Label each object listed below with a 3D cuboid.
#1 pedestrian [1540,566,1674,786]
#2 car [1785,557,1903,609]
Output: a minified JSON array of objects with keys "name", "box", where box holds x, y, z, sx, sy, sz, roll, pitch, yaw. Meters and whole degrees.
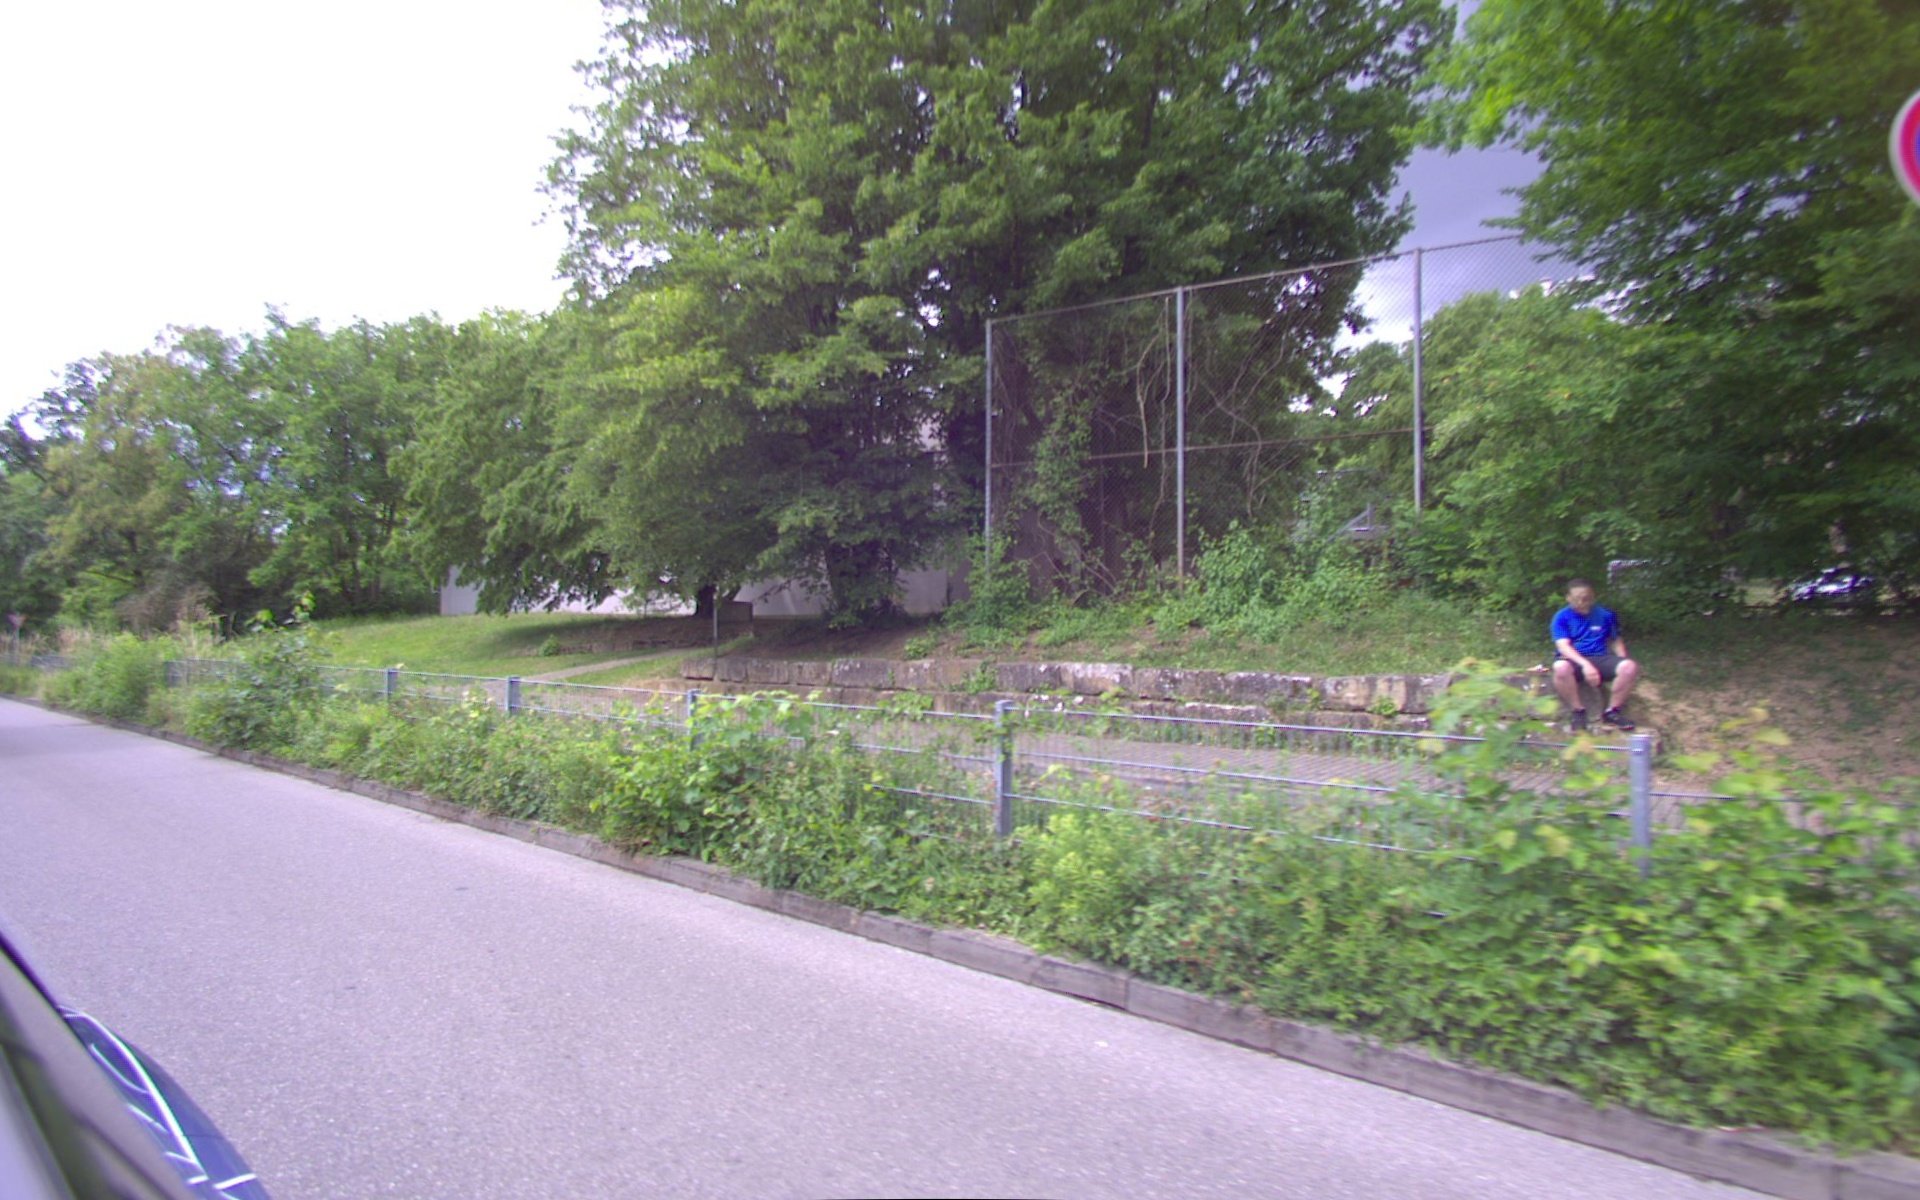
[{"name":"pedestrian","box":[5.285,0.596,8.262,0.808,1.675,0.752,-2,-3,39]},{"name":"car","box":[33.382,-0.582,38.379,1.961,1.707,4.415,-1,-2,22]}]
